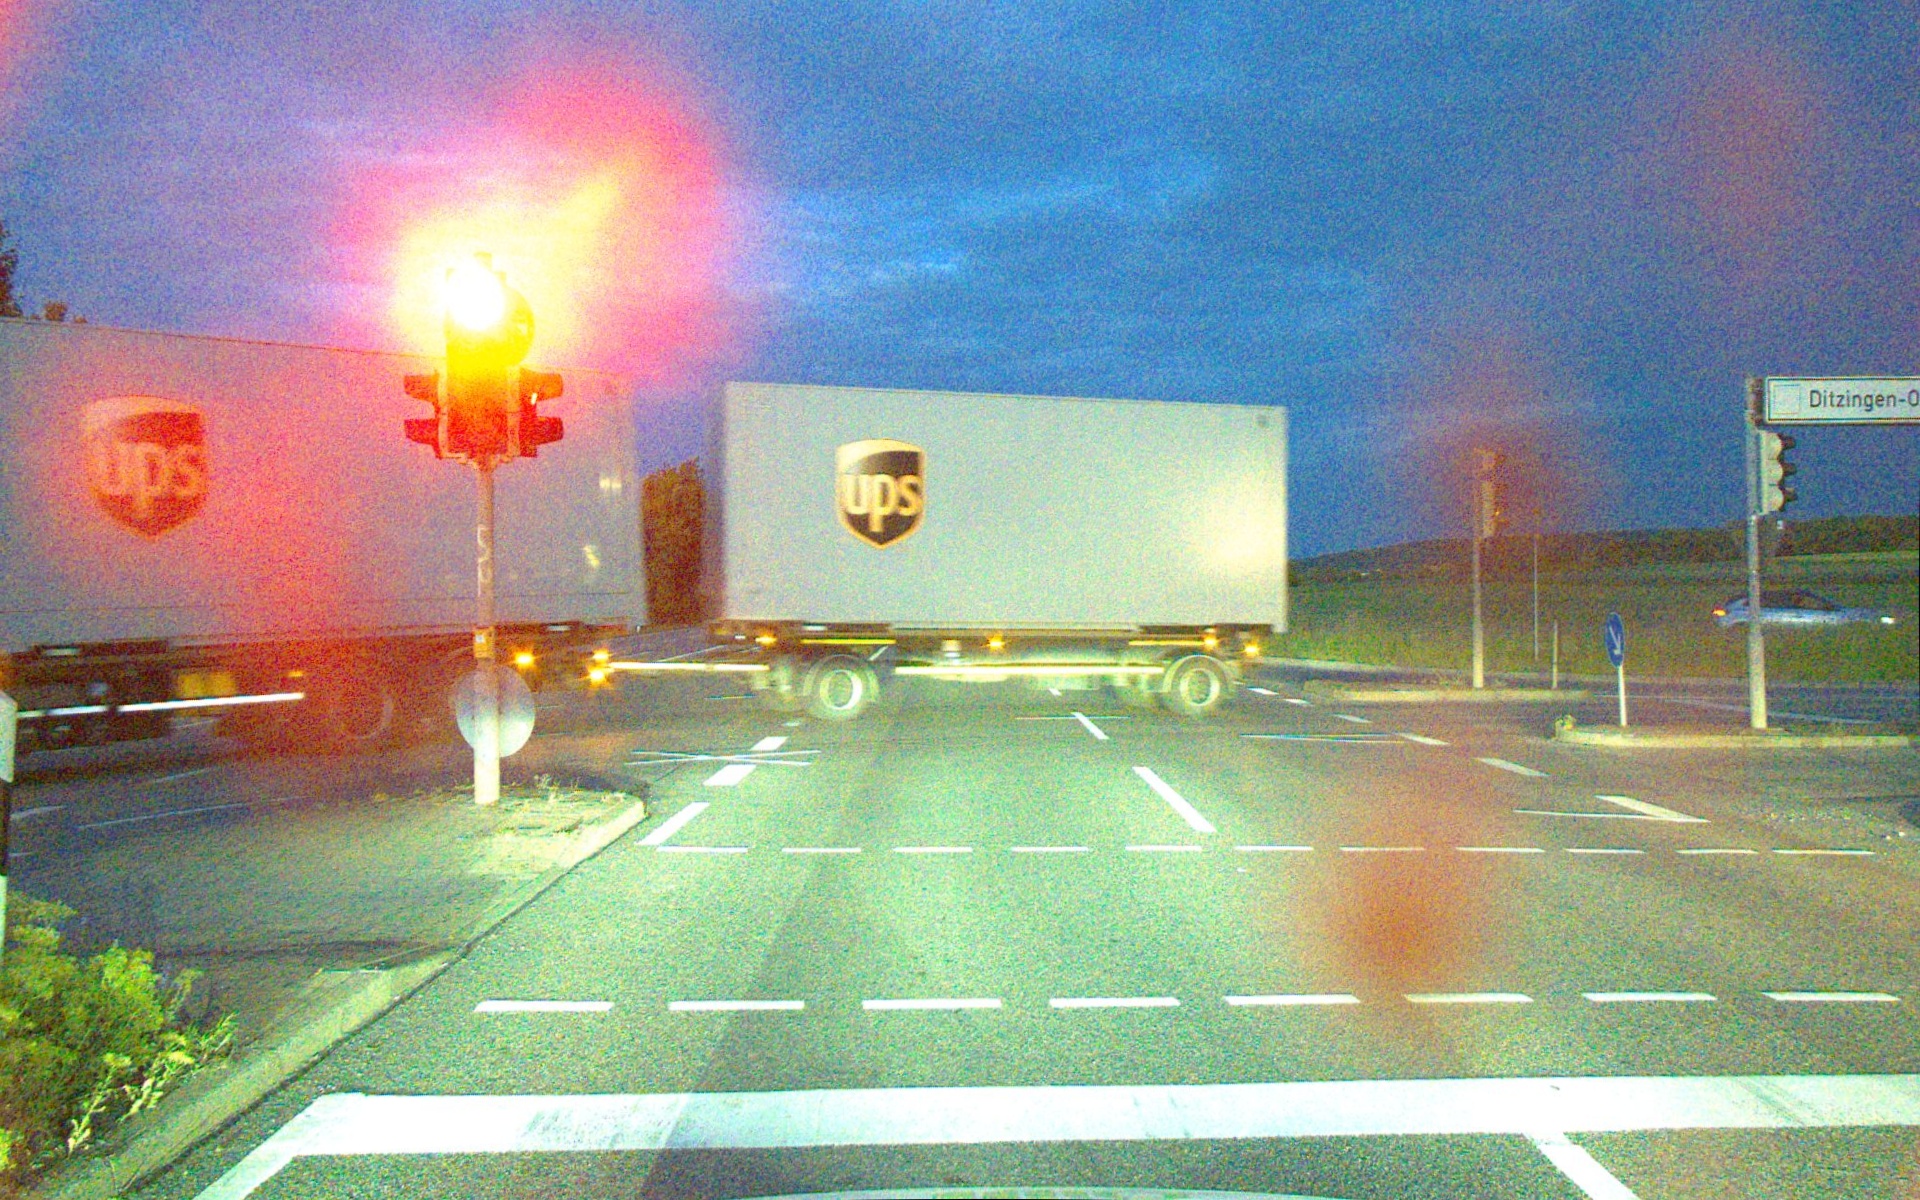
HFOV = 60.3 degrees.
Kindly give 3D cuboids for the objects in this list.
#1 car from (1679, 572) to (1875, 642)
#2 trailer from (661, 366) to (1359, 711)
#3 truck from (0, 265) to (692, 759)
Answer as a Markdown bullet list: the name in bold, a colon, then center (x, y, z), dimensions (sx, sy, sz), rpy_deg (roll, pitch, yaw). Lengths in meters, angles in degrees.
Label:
- **car**: center (21.379, 0.189, 43.342), dimensions (4.384, 1.693, 1.994), rpy_deg (-1, 0, 33)
- **trailer**: center (0.631, -0.836, 21.626), dimensions (8.702, 4.012, 2.575), rpy_deg (-2, 0, -15)
- **truck**: center (-7.612, -0.744, 16.526), dimensions (2.687, 4.189, 10.277), rpy_deg (-1, 0, 43)
